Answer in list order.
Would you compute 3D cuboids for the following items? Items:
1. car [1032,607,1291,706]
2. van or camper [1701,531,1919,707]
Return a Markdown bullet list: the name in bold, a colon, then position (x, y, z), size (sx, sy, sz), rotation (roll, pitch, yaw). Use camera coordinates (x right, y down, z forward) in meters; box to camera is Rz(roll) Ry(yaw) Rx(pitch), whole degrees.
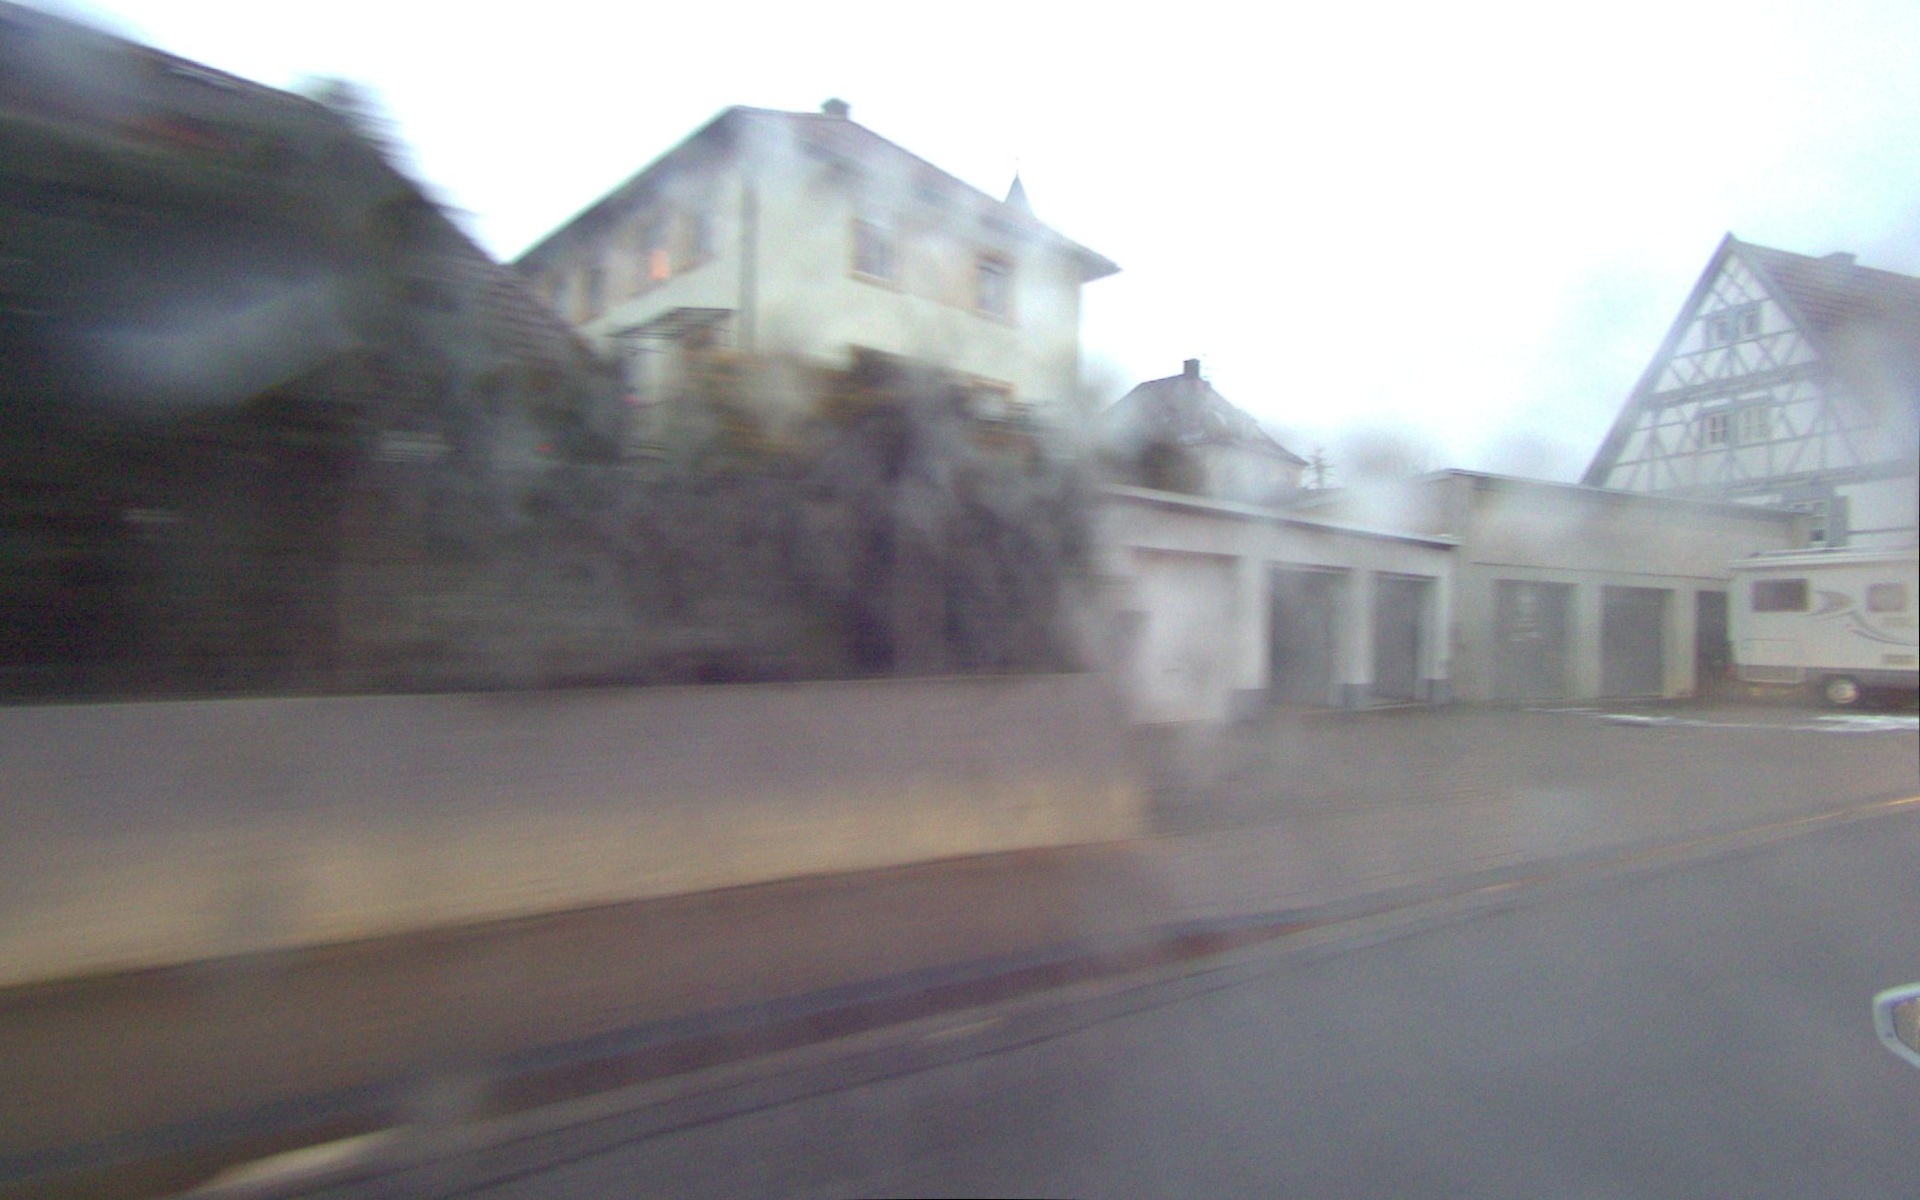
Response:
- **car**: position (3.246, 0.846, 16.817), size (1.981, 1.421, 3.959), rotation (1, -1, -36)
- **van or camper**: position (17.281, 0.369, 17.967), size (2.372, 2.993, 6.049), rotation (1, -3, -23)
